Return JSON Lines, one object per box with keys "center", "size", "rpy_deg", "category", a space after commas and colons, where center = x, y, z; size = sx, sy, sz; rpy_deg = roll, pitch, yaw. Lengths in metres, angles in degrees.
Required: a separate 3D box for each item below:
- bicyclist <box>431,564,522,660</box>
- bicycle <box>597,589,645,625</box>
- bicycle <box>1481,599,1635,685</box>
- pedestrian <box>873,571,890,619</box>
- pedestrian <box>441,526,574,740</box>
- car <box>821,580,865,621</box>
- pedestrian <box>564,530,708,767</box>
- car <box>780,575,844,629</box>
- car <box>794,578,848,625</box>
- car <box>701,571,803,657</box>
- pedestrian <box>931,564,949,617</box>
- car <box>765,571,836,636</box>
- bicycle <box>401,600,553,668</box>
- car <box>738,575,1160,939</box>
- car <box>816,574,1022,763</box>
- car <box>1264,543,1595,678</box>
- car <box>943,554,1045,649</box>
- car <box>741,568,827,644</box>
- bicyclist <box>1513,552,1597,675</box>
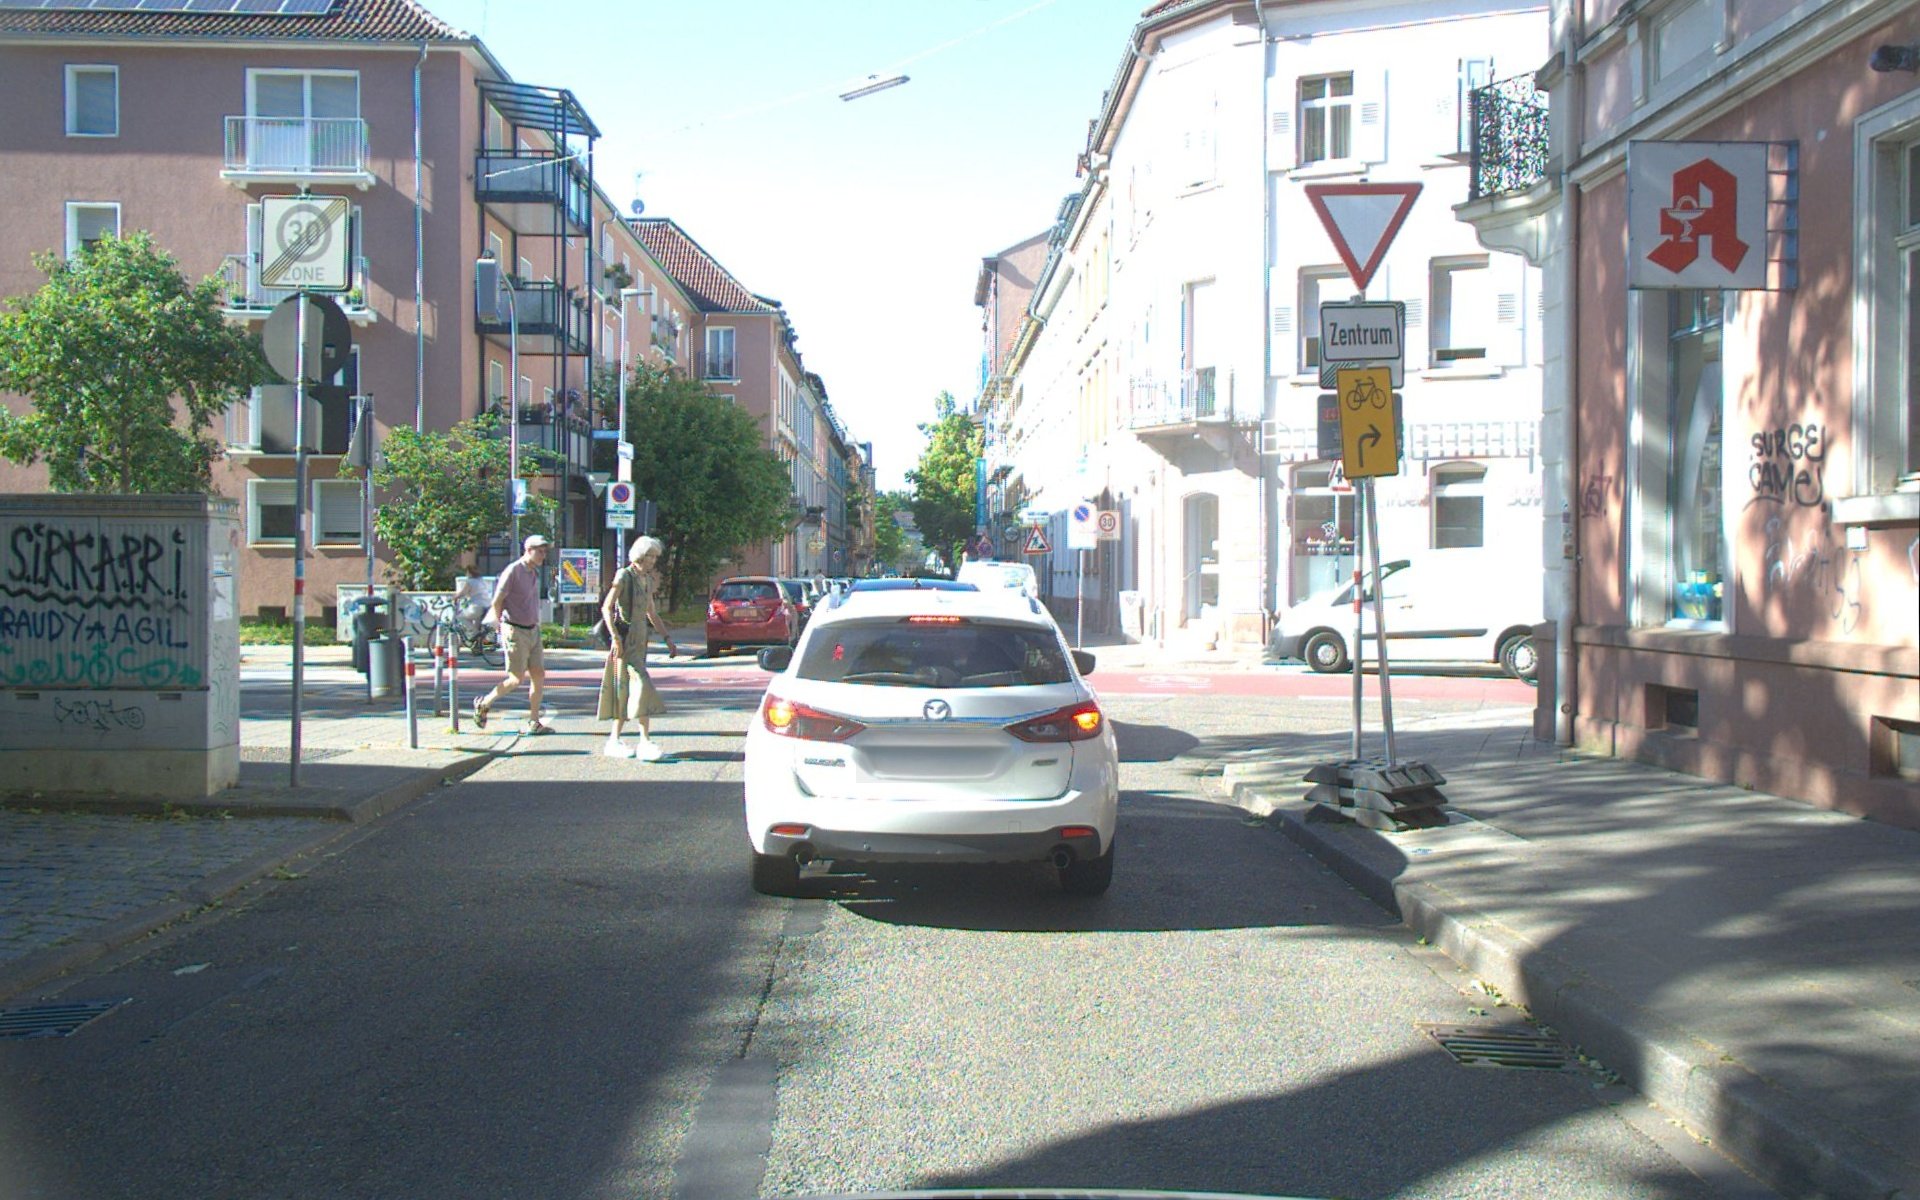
{"center": [-7.936, 0.199, 27.160], "size": [1.170, 1.543, 0.841], "rpy_deg": [0, 0, 19], "category": "bicyclist"}
{"center": [-9.211, 0.192, 44.858], "size": [0.598, 0.948, 1.892], "rpy_deg": [0, 0, -34], "category": "bicycle"}
{"center": [8.256, 0.570, 22.891], "size": [1.966, 1.164, 0.684], "rpy_deg": [0, 0, 20], "category": "bicycle"}
{"center": [-3.001, -0.196, 63.245], "size": [0.634, 1.828, 0.639], "rpy_deg": [0, 0, -1], "category": "pedestrian"}
{"center": [-4.089, 0.276, 14.972], "size": [0.946, 1.870, 0.683], "rpy_deg": [2, 2, 7], "category": "pedestrian"}
{"center": [-4.636, 0.021, 65.935], "size": [1.540, 1.613, 3.610], "rpy_deg": [0, 0, -1], "category": "car"}
{"center": [-2.630, 0.357, 13.460], "size": [0.836, 1.846, 0.814], "rpy_deg": [2, 3, 26], "category": "pedestrian"}
{"center": [-4.586, 0.054, 51.613], "size": [1.685, 1.604, 3.725], "rpy_deg": [0, 0, -1], "category": "car"}
{"center": [-4.655, 0.050, 55.624], "size": [1.569, 1.503, 3.567], "rpy_deg": [0, 0, -1], "category": "car"}
{"center": [-4.177, 0.236, 33.723], "size": [1.734, 1.616, 3.725], "rpy_deg": [0, 1, -2], "category": "car"}
{"center": [-0.810, -0.391, 67.039], "size": [0.755, 2.155, 0.834], "rpy_deg": [0, 0, -1], "category": "pedestrian"}
{"center": [-4.289, 0.099, 44.835], "size": [1.602, 1.685, 3.784], "rpy_deg": [0, 0, -1], "category": "car"}
{"center": [-7.930, 0.548, 27.169], "size": [2.374, 1.098, 0.790], "rpy_deg": [0, 0, 19], "category": "bicycle"}
{"center": [-0.115, 0.650, 8.961], "size": [1.787, 1.540, 3.822], "rpy_deg": [1, 1, -2], "category": "car"}
{"center": [-0.392, 0.527, 15.098], "size": [1.648, 1.507, 3.659], "rpy_deg": [0, 1, -2], "category": "car"}
{"center": [7.370, 0.157, 25.969], "size": [4.791, 1.962, 1.999], "rpy_deg": [1, -1, 23], "category": "car"}
{"center": [0.706, 0.015, 37.089], "size": [1.904, 1.982, 4.075], "rpy_deg": [1, 0, -4], "category": "car"}
{"center": [-4.140, 0.120, 39.324], "size": [1.685, 1.712, 3.725], "rpy_deg": [0, 0, -1], "category": "car"}
{"center": [8.236, 0.186, 22.899], "size": [1.068, 1.673, 0.756], "rpy_deg": [0, 0, 20], "category": "bicyclist"}
